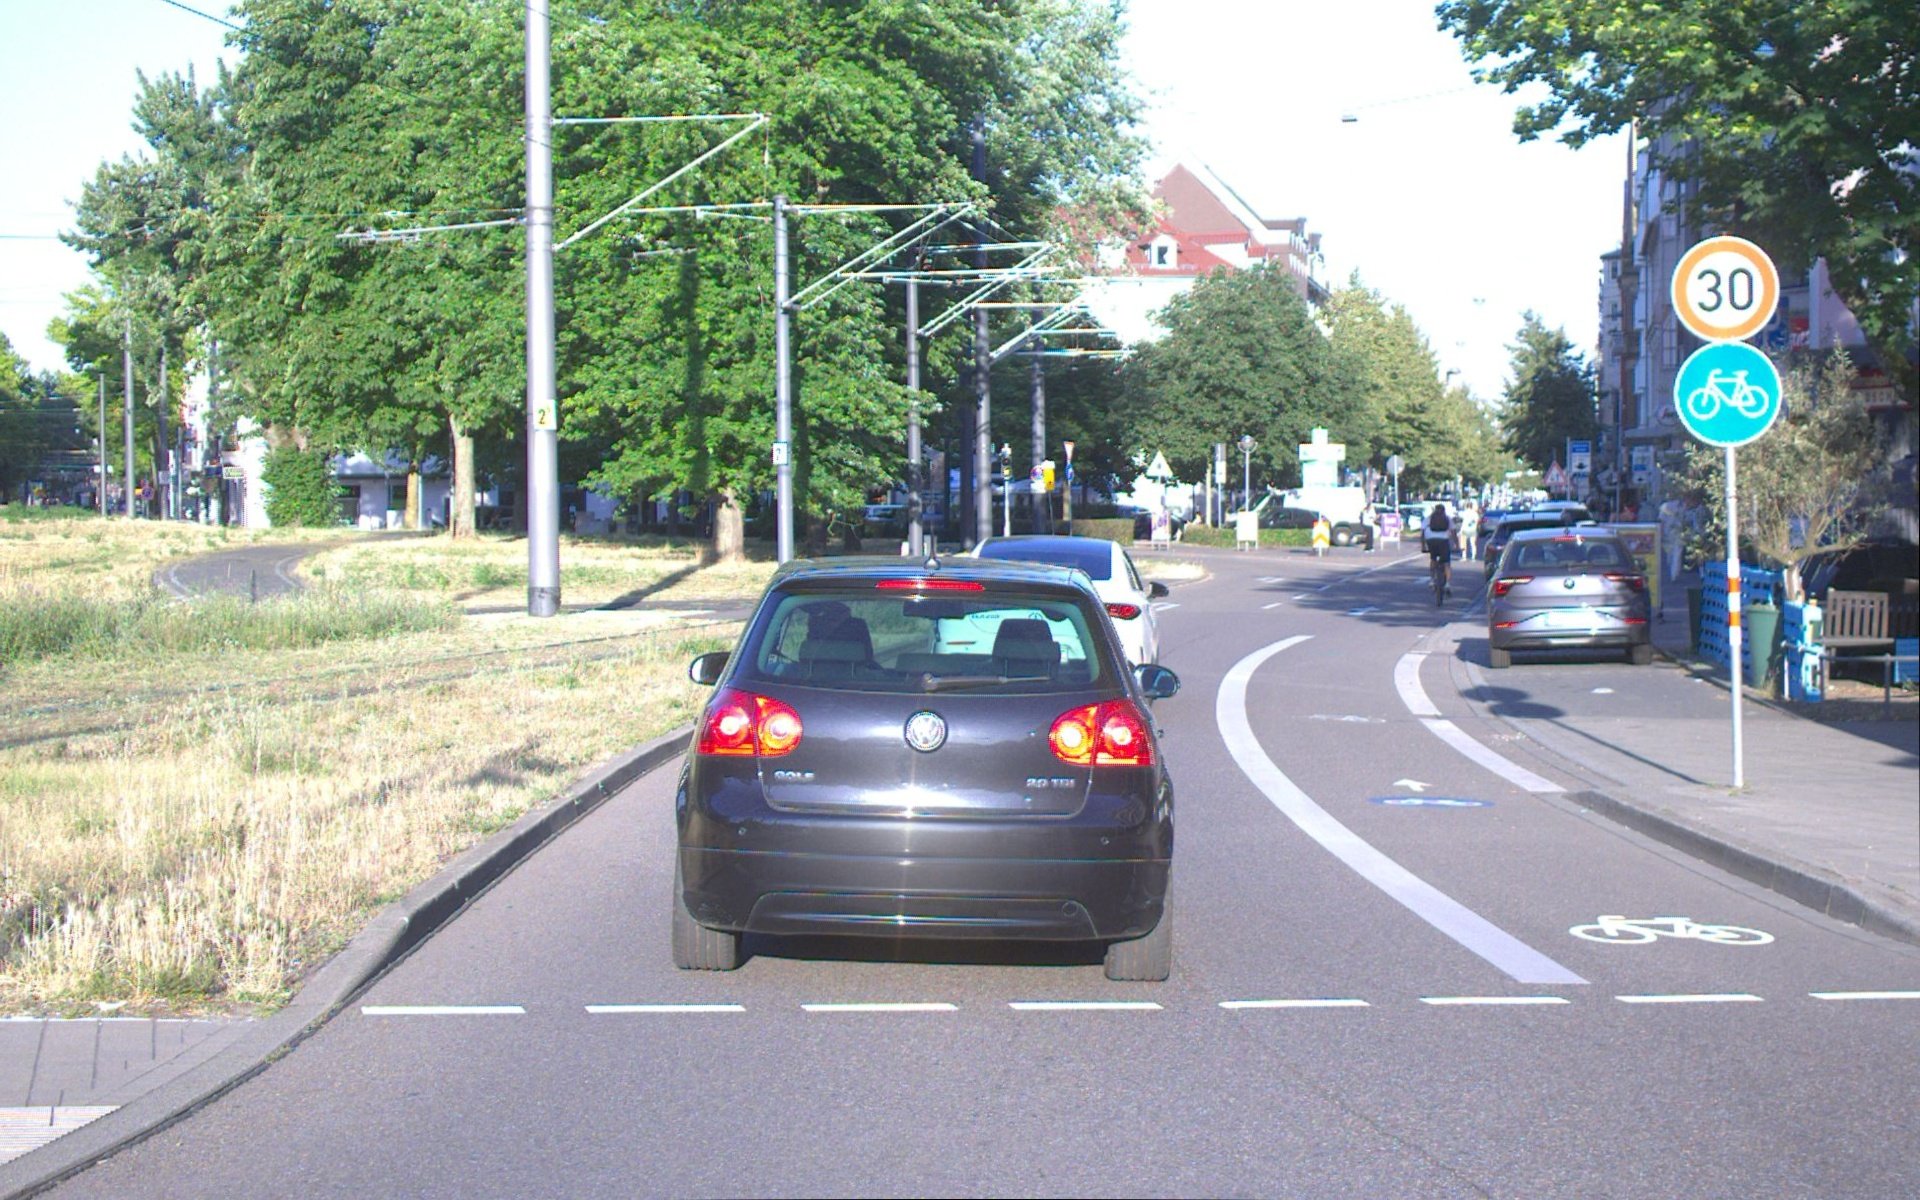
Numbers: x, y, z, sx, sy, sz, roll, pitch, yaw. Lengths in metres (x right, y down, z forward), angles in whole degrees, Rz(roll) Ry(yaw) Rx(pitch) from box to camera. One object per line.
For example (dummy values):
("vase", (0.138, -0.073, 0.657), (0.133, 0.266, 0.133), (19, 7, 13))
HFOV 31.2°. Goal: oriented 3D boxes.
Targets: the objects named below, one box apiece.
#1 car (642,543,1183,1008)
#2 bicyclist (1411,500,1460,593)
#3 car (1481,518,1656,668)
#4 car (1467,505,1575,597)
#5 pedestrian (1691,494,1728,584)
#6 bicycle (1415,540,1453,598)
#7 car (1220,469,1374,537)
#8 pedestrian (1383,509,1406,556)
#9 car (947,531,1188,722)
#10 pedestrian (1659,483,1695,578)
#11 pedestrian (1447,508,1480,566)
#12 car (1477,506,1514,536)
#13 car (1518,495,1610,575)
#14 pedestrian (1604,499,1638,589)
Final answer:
("car", (-0.152, 0.536, 13.233), (1.747, 1.456, 4.103), (0, 2, 0))
("bicyclist", (8.371, -0.952, 60.507), (0.777, 1.612, 1.025), (1, 1, 10))
("car", (6.583, -0.117, 37.379), (1.729, 1.467, 3.898), (-2, 1, 9))
("car", (10.245, -0.912, 62.573), (1.782, 1.551, 4.233), (-2, 1, 11))
("pedestrian", (14.773, -1.202, 67.783), (0.622, 1.734, 0.661), (-2, 1, 11))
("bicycle", (8.354, -0.555, 60.537), (0.579, 0.984, 1.935), (1, 1, 10))
("car", (13.069, -3.767, 133.418), (5.509, 2.585, 2.155), (0, 1, -16))
("pedestrian", (14.391, -2.225, 113.994), (0.736, 1.549, 0.632), (0, 1, 7))
("car", (0.833, 0.164, 28.984), (1.865, 1.436, 4.197), (0, 2, 0))
("pedestrian", (14.173, -1.378, 67.964), (0.622, 1.851, 0.661), (-2, 1, 11))
("pedestrian", (14.808, -1.857, 101.137), (0.859, 1.700, 0.941), (1, 1, 4))
("car", (28.258, -4.169, 181.419), (1.907, 1.546, 3.999), (0, 2, 9))
("car", (13.809, -1.496, 78.797), (1.868, 1.708, 4.504), (-2, 1, 8))
("pedestrian", (13.148, -1.115, 68.381), (0.579, 1.754, 0.661), (-2, 1, 11))
